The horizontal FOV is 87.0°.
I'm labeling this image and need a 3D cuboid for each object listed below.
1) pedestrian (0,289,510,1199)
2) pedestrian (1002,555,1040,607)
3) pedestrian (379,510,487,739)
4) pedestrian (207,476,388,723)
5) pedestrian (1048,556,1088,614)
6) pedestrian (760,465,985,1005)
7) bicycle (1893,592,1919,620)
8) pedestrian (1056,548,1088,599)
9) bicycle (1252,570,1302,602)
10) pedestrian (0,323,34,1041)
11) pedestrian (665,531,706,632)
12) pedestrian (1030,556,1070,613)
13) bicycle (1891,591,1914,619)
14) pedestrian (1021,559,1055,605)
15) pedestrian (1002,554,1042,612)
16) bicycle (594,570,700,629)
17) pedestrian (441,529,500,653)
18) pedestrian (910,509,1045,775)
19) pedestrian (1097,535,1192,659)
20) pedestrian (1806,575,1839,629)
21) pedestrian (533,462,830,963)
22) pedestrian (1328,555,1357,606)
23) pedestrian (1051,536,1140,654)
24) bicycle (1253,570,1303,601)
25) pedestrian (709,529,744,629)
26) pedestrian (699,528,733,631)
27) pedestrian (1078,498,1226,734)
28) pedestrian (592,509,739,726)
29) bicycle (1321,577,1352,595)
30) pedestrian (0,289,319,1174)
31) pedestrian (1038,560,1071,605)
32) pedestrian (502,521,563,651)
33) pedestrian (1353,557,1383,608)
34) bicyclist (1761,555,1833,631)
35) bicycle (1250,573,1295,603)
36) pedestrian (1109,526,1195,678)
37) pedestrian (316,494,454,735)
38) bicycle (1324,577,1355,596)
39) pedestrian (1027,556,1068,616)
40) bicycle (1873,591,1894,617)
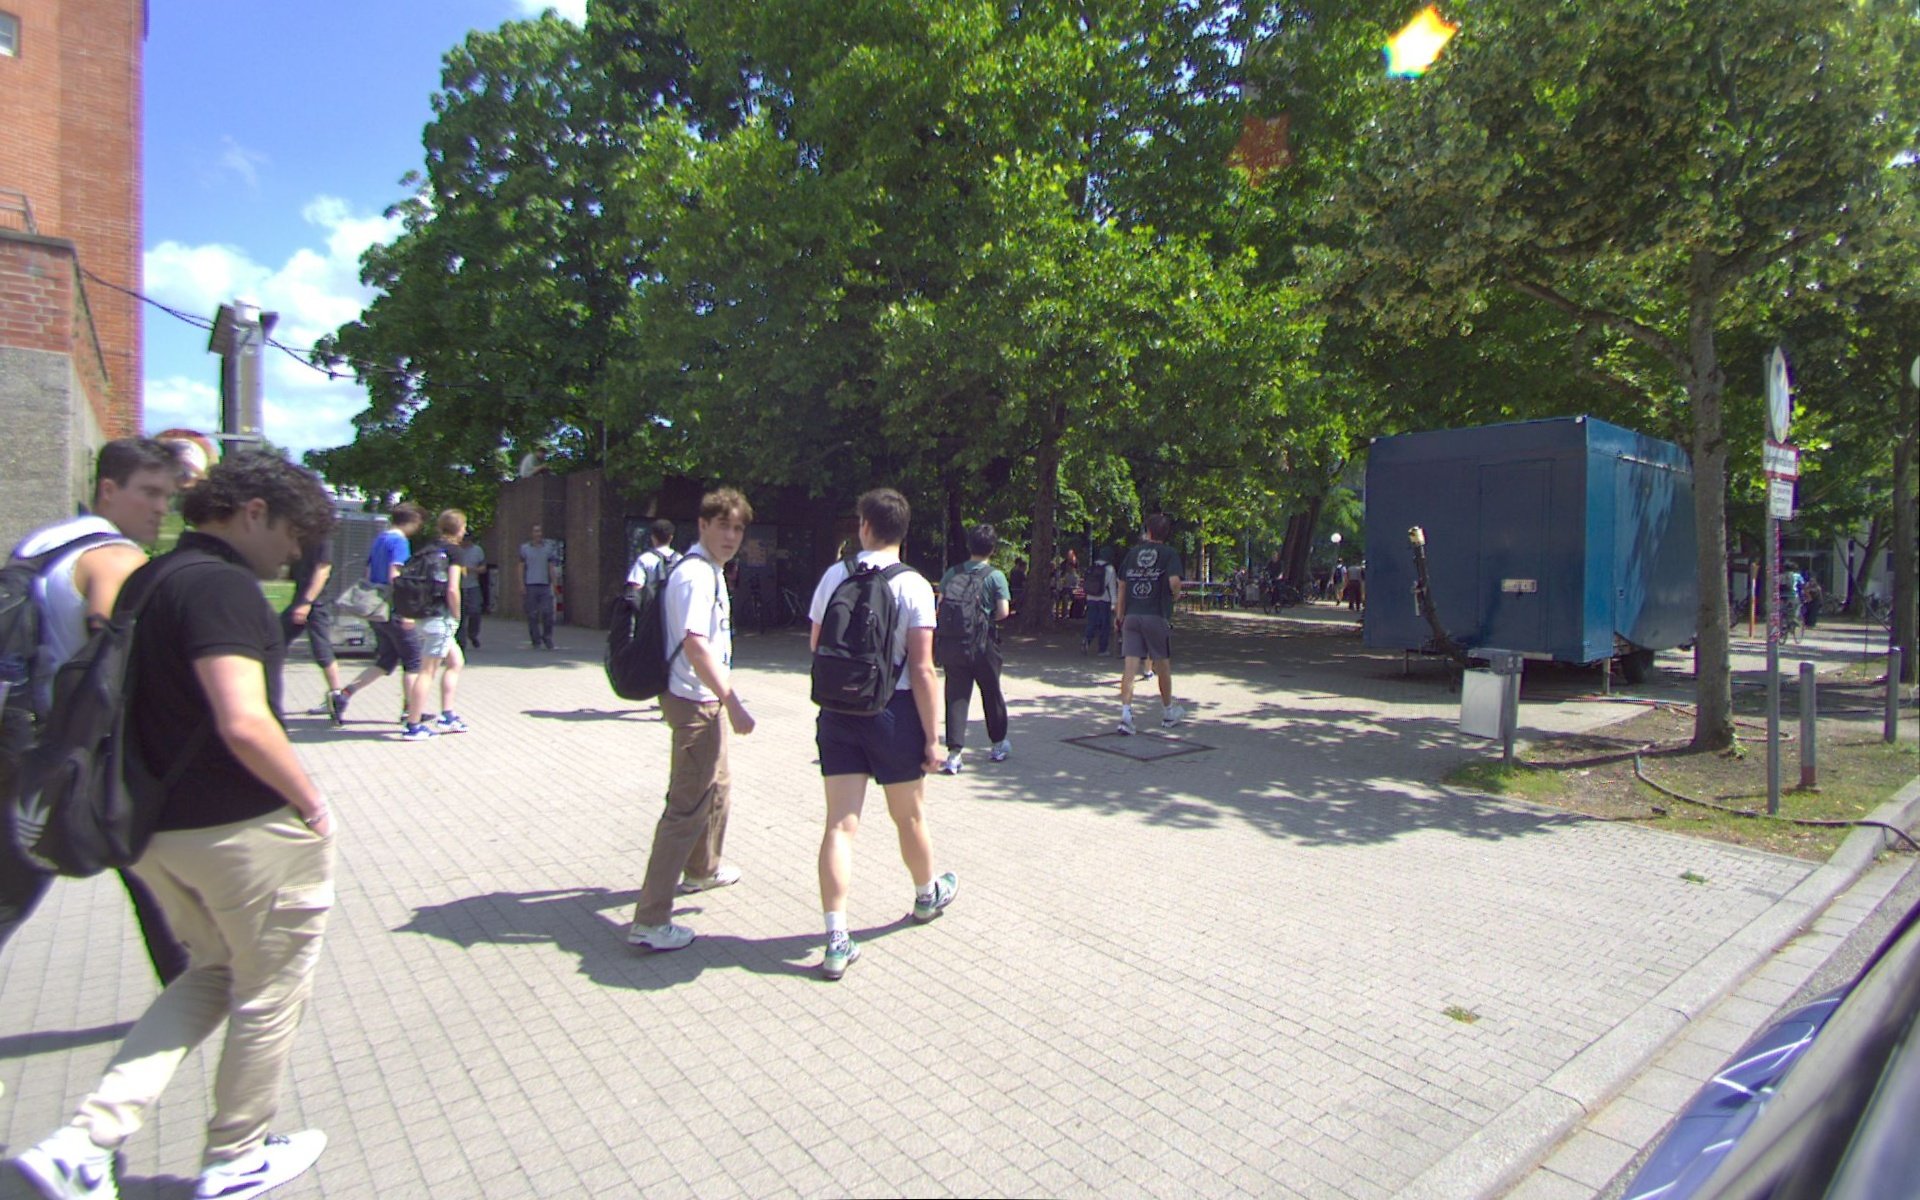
[{"bbox_3d":[-1.561,0.360,2.145,0.838,1.795,0.804,1,0,-2],"label":"pedestrian"},{"bbox_3d":[1.674,-0.514,27.791,0.707,1.363,0.668,1,4,-43],"label":"pedestrian"},{"bbox_3d":[-3.973,0.160,7.640,0.500,1.650,0.563,2,3,39],"label":"pedestrian"},{"bbox_3d":[-5.468,-0.030,8.366,0.760,1.890,1.061,4,3,40],"label":"pedestrian"},{"bbox_3d":[2.639,-0.365,24.820,0.717,1.363,0.570,1,4,-43],"label":"pedestrian"},{"bbox_3d":[-0.283,0.419,3.810,0.688,1.760,0.983,2,3,3],"label":"pedestrian"},{"bbox_3d":[41.234,0.259,43.470,1.750,1.155,0.607,2,3,-6],"label":"bicycle"},{"bbox_3d":[3.653,-0.855,33.031,0.715,1.600,0.659,6,4,38],"label":"pedestrian"},{"bbox_3d":[11.957,-0.540,38.179,1.735,1.107,0.474,3,2,26],"label":"bicycle"},{"bbox_3d":[-2.999,0.232,2.477,0.678,2.005,0.829,1,0,-2],"label":"pedestrian"},{"bbox_3d":[-5.262,-0.365,19.420,0.523,1.905,0.554,3,3,23],"label":"pedestrian"},{"bbox_3d":[2.245,-0.383,25.248,0.717,1.363,0.570,1,4,-43],"label":"pedestrian"},{"bbox_3d":[41.374,0.198,44.418,1.464,1.155,0.561,-1,4,-42],"label":"bicycle"},{"bbox_3d":[2.279,-0.524,29.604,0.612,1.286,0.668,1,4,-43],"label":"pedestrian"},{"bbox_3d":[1.521,-0.411,24.889,0.717,1.363,0.570,1,4,-43],"label":"pedestrian"},{"bbox_3d":[-6.356,-0.018,20.633,1.990,1.154,0.575,0,1,-39],"label":"bicycle"},{"bbox_3d":[-7.226,-0.156,14.924,0.717,1.759,0.837,-1,4,-30],"label":"pedestrian"},{"bbox_3d":[0.148,0.256,7.235,0.694,1.741,0.989,2,2,16],"label":"pedestrian"},{"bbox_3d":[2.594,-0.056,14.220,0.932,1.658,0.877,1,1,-39],"label":"pedestrian"},{"bbox_3d":[27.049,0.054,31.751,0.911,1.590,0.570,-4,5,-38],"label":"pedestrian"},{"bbox_3d":[-1.118,0.376,4.095,0.677,1.760,0.894,5,3,44],"label":"pedestrian"},{"bbox_3d":[15.434,-0.788,40.829,0.828,1.972,1.067,4,3,31],"label":"pedestrian"},{"bbox_3d":[1.986,-0.088,14.825,0.932,1.658,0.877,0,1,-39],"label":"pedestrian"},{"bbox_3d":[12.099,-0.549,38.495,1.735,1.107,0.474,3,2,26],"label":"bicycle"},{"bbox_3d":[-4.549,-0.402,19.705,0.518,1.906,0.449,1,0,-29],"label":"pedestrian"},{"bbox_3d":[-4.586,-0.383,19.069,0.547,1.906,0.530,1,0,-9],"label":"pedestrian"},{"bbox_3d":[1.674,0.108,8.761,0.849,1.883,1.102,2,2,34],"label":"pedestrian"},{"bbox_3d":[-2.573,0.102,8.804,1.103,1.736,0.701,5,5,38],"label":"pedestrian"},{"bbox_3d":[22.584,-0.835,60.736,1.656,1.098,0.478,1,-1,0],"label":"bicycle"},{"bbox_3d":[-2.336,0.279,2.724,0.610,2.004,0.824,2,3,20],"label":"pedestrian"},{"bbox_3d":[2.825,-0.527,30.285,0.612,1.286,0.668,1,4,-43],"label":"pedestrian"},{"bbox_3d":[-6.497,-0.245,15.374,0.717,1.905,0.837,-2,5,-30],"label":"pedestrian"},{"bbox_3d":[16.250,-0.701,40.294,0.828,1.972,1.067,4,3,31],"label":"pedestrian"},{"bbox_3d":[18.167,-0.146,21.970,1.171,1.586,0.654,1,4,-25],"label":"bicyclist"},{"bbox_3d":[12.125,-0.476,39.228,1.600,1.107,0.344,3,3,33],"label":"bicycle"},{"bbox_3d":[2.150,0.009,11.428,0.836,1.615,0.829,3,2,8],"label":"pedestrian"},{"bbox_3d":[-4.604,0.087,8.115,0.707,1.809,0.742,2,3,39],"label":"pedestrian"},{"bbox_3d":[22.254,-0.777,59.381,1.656,1.098,0.478,1,-1,0],"label":"bicycle"},{"bbox_3d":[2.100,-0.335,24.270,0.717,1.363,0.570,1,4,-43],"label":"pedestrian"},{"bbox_3d":[46.437,0.190,50.879,1.797,1.257,0.531,-1,3,-40],"label":"bicycle"}]
